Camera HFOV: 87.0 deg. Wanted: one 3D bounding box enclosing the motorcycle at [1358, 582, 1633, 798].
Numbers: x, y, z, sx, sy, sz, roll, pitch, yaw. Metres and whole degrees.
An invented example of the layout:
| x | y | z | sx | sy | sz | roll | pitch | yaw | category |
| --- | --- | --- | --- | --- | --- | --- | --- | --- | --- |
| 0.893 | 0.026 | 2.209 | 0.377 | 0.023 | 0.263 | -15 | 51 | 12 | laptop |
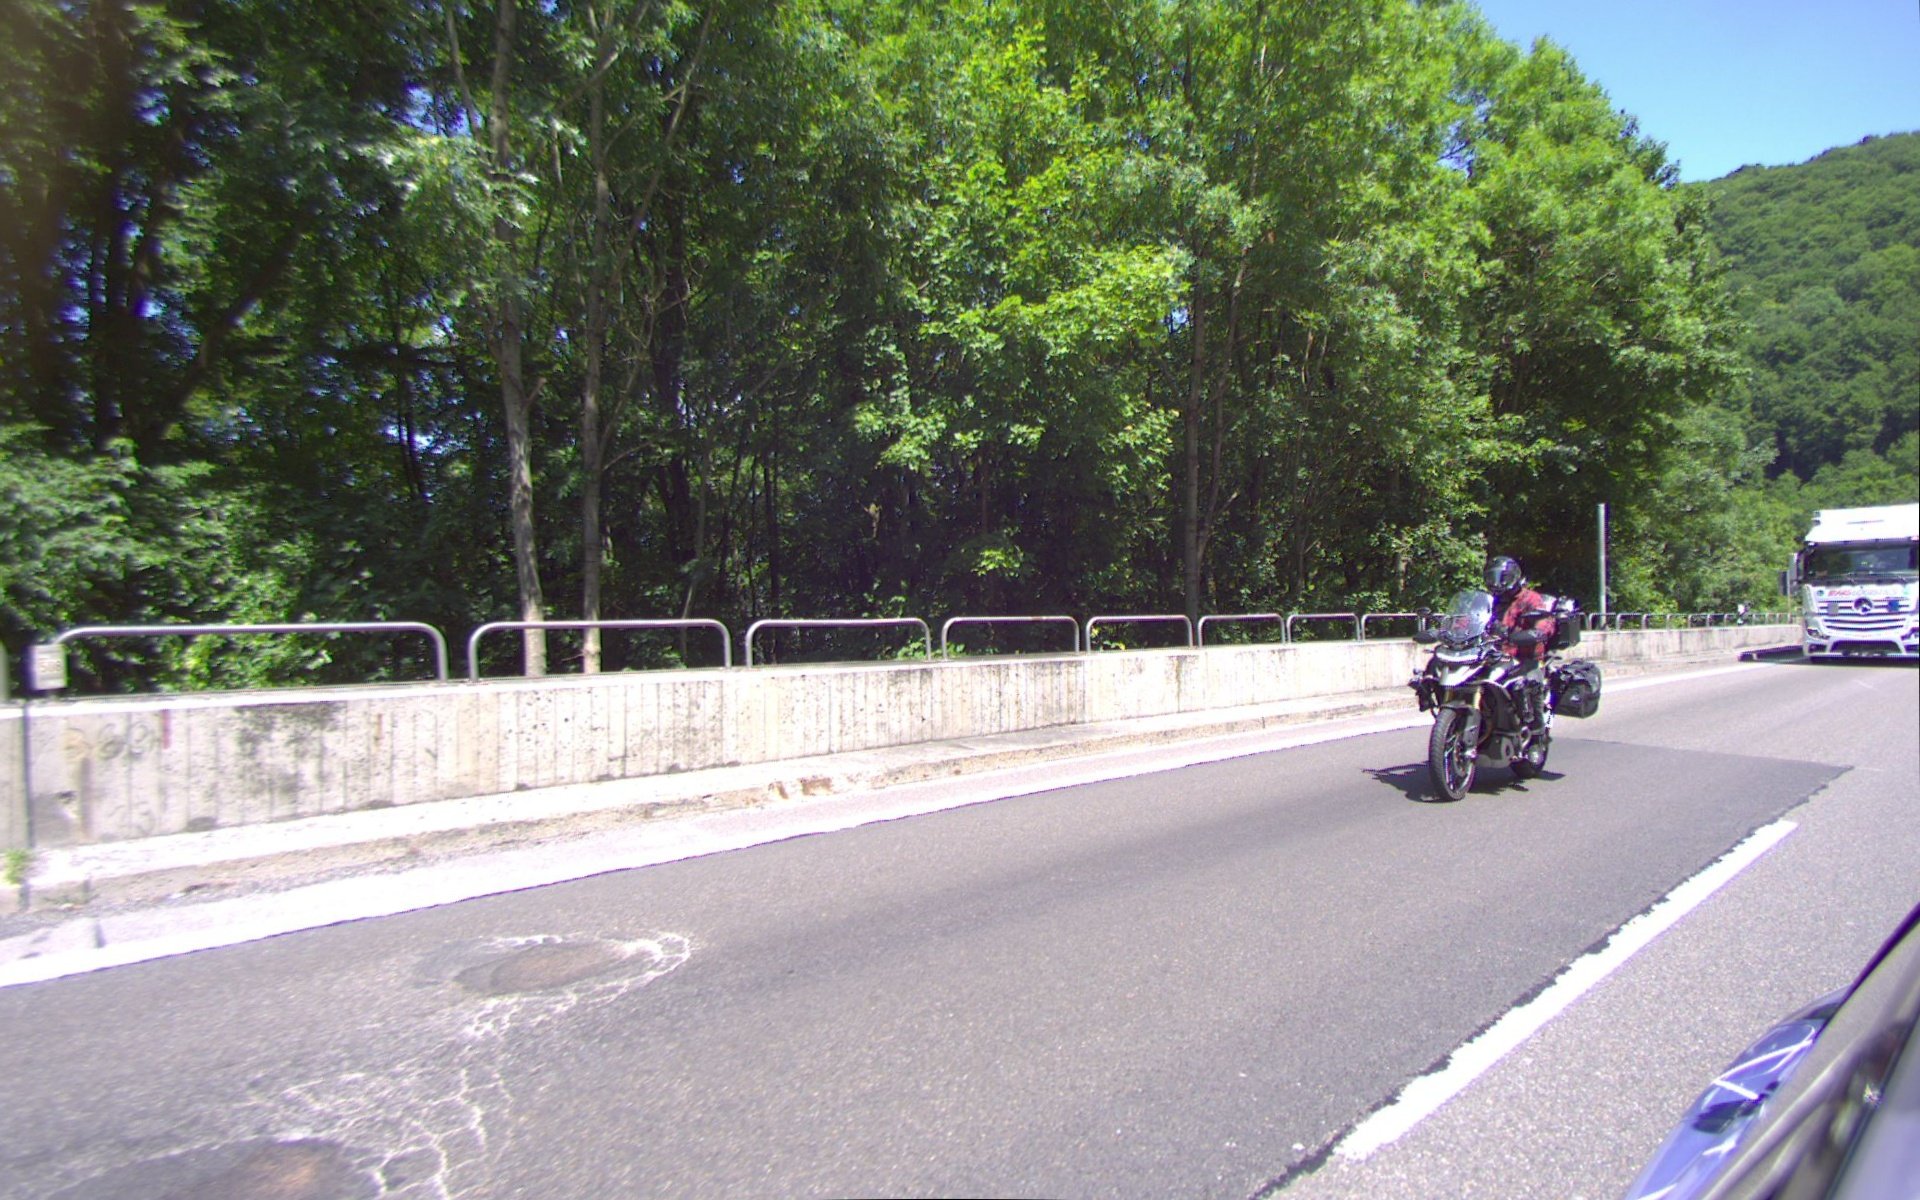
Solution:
| x | y | z | sx | sy | sz | roll | pitch | yaw | category |
| --- | --- | --- | --- | --- | --- | --- | --- | --- | --- |
| 4.275 | 0.595 | 7.964 | 2.633 | 1.437 | 0.974 | 0 | 0 | -39 | motorcycle |

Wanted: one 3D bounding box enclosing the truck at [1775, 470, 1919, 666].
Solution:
| x | y | z | sx | sy | sz | roll | pitch | yaw | category |
| --- | --- | --- | --- | --- | --- | --- | --- | --- | --- |
| 25.745 | -0.710 | 27.868 | 16.428 | 4.185 | 2.963 | 0 | -1 | -44 | truck |

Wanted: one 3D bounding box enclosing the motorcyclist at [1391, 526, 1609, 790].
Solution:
| x | y | z | sx | sy | sz | roll | pitch | yaw | category |
| --- | --- | --- | --- | --- | --- | --- | --- | --- | --- |
| 4.179 | 0.393 | 7.832 | 1.314 | 1.823 | 1.063 | 0 | 0 | -39 | motorcyclist |
